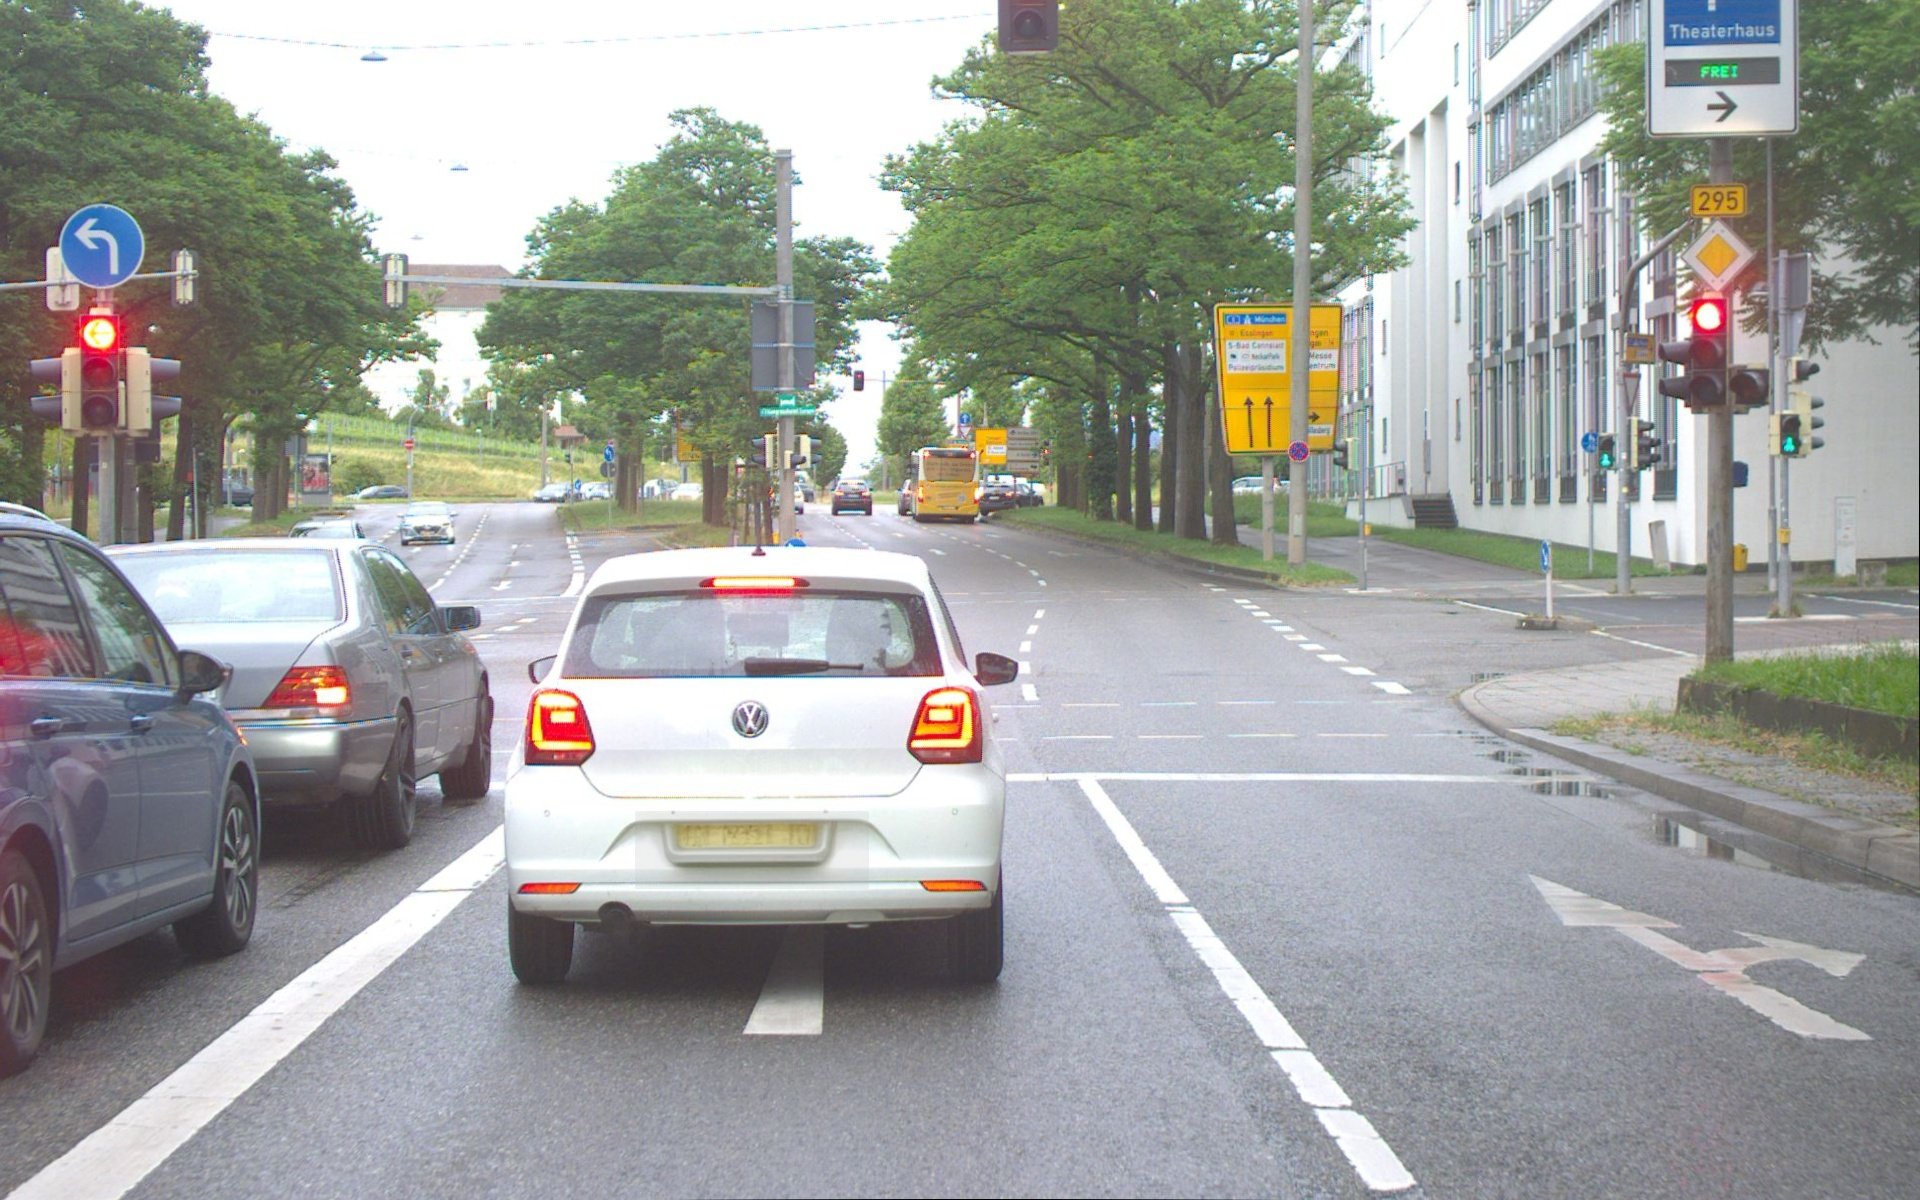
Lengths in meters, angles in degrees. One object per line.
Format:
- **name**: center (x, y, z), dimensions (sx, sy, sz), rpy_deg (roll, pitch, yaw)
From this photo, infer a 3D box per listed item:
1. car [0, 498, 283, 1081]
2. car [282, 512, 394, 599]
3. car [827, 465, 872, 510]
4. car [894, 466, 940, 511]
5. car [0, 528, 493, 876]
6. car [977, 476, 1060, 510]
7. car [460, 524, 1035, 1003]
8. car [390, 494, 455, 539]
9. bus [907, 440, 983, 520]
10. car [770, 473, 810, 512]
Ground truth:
- **car**: center (-3.497, 0.499, 10.930), dimensions (1.772, 1.591, 4.197), rpy_deg (-1, 1, 1)
- **car**: center (-11.869, -0.873, 65.758), dimensions (1.750, 1.515, 3.818), rpy_deg (-2, 2, -5)
- **car**: center (-5.069, -5.140, 157.980), dimensions (1.993, 2.007, 4.001), rpy_deg (-1, 1, -3)
- **car**: center (-2.004, -5.149, 159.016), dimensions (1.993, 2.007, 4.001), rpy_deg (-1, 1, -3)
- **car**: center (-3.573, 0.412, 17.309), dimensions (1.847, 1.505, 4.048), rpy_deg (-1, 1, 0)
- **car**: center (2.706, -4.923, 158.059), dimensions (1.699, 1.510, 3.818), rpy_deg (1, 2, 43)
- **car**: center (-0.712, 0.468, 12.751), dimensions (1.794, 1.497, 4.000), rpy_deg (0, 1, -1)
- **car**: center (-18.190, -2.854, 116.520), dimensions (1.814, 1.406, 4.657), rpy_deg (-2, 2, -5)
- **bus**: center (-0.701, -5.093, 145.513), dimensions (2.828, 3.255, 10.002), rpy_deg (0, 2, -3)
- **car**: center (-7.910, -4.975, 159.708), dimensions (1.794, 1.735, 4.001), rpy_deg (-1, 2, -3)
